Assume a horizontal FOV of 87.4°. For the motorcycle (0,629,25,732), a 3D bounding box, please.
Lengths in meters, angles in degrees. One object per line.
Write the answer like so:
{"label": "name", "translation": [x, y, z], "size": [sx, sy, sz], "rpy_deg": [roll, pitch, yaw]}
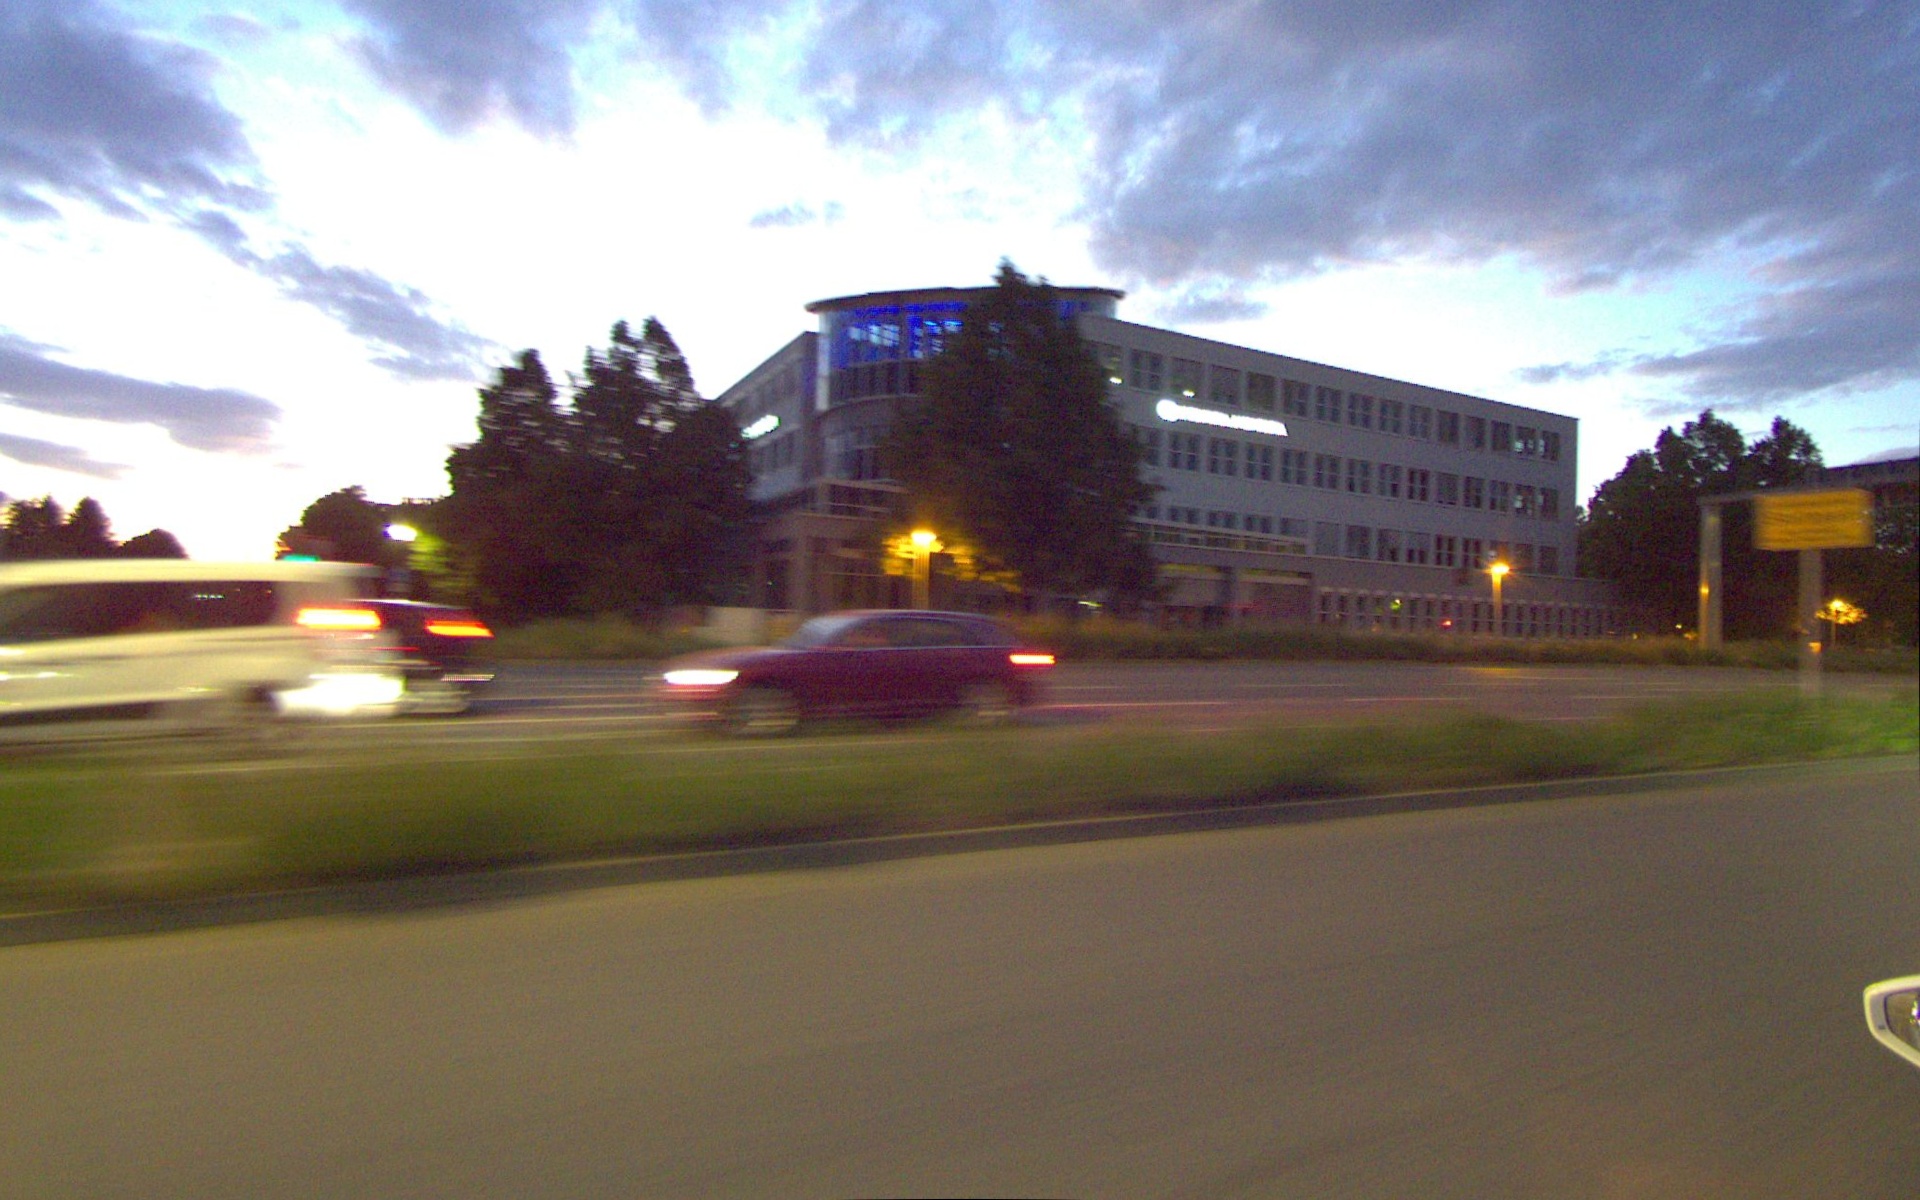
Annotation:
{"label": "motorcycle", "translation": [-11.825, 0.916, 11.291], "size": [1.779, 1.179, 0.670], "rpy_deg": [1, -1, -18]}

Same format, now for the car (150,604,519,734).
{"label": "car", "translation": [-7.723, 0.821, 12.860], "size": [3.726, 1.466, 1.766], "rpy_deg": [1, -1, -22]}

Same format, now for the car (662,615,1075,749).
{"label": "car", "translation": [-1.116, 0.935, 12.465], "size": [4.770, 1.416, 1.866], "rpy_deg": [1, -1, -24]}

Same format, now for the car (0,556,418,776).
{"label": "car", "translation": [-7.895, 0.575, 9.457], "size": [4.706, 1.838, 1.840], "rpy_deg": [1, -1, -23]}
